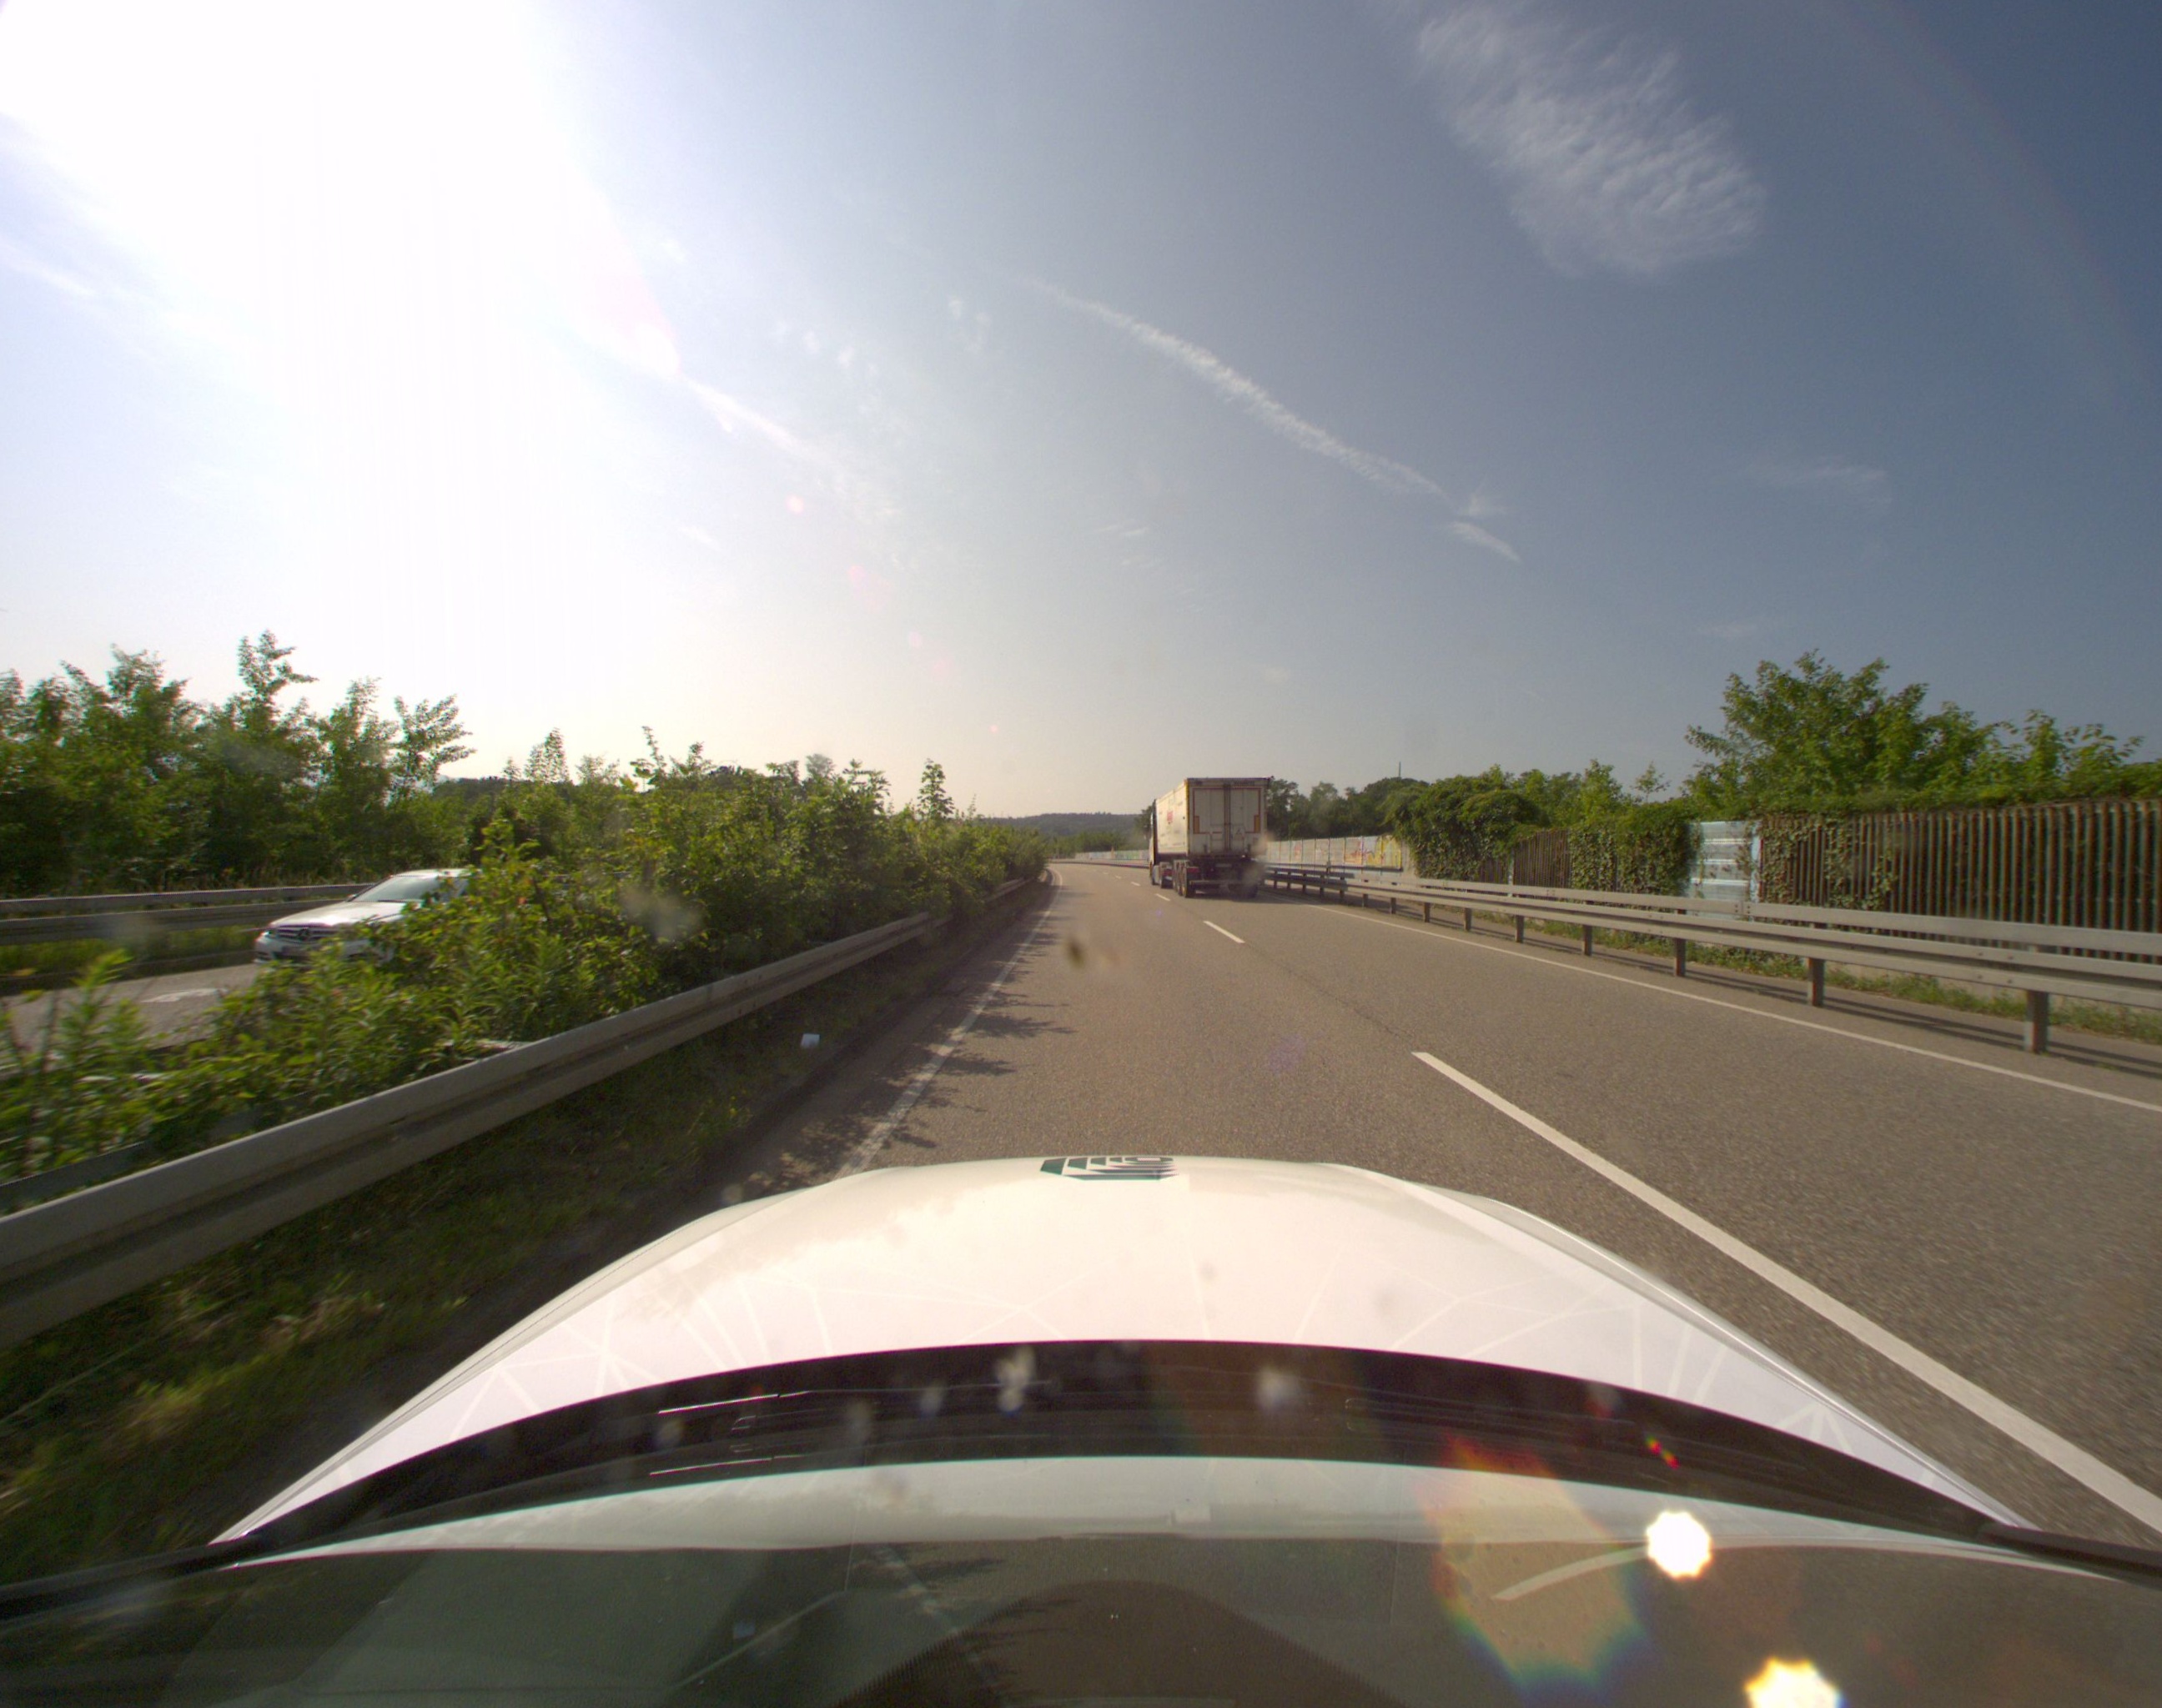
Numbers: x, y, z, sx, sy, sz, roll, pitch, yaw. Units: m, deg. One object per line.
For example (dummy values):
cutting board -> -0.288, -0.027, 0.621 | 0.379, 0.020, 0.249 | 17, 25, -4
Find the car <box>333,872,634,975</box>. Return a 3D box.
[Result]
car -> -10.142, 1.087, 14.373 | 1.986, 1.488, 4.335 | 0, -1, 2

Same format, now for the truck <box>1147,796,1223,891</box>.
truck -> 4.513, -0.466, 36.396 | 2.650, 3.896, 5.647 | 0, 0, 0

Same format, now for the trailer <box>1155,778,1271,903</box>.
trailer -> 4.566, -0.442, 30.329 | 2.671, 3.907, 9.669 | 0, 0, -1
